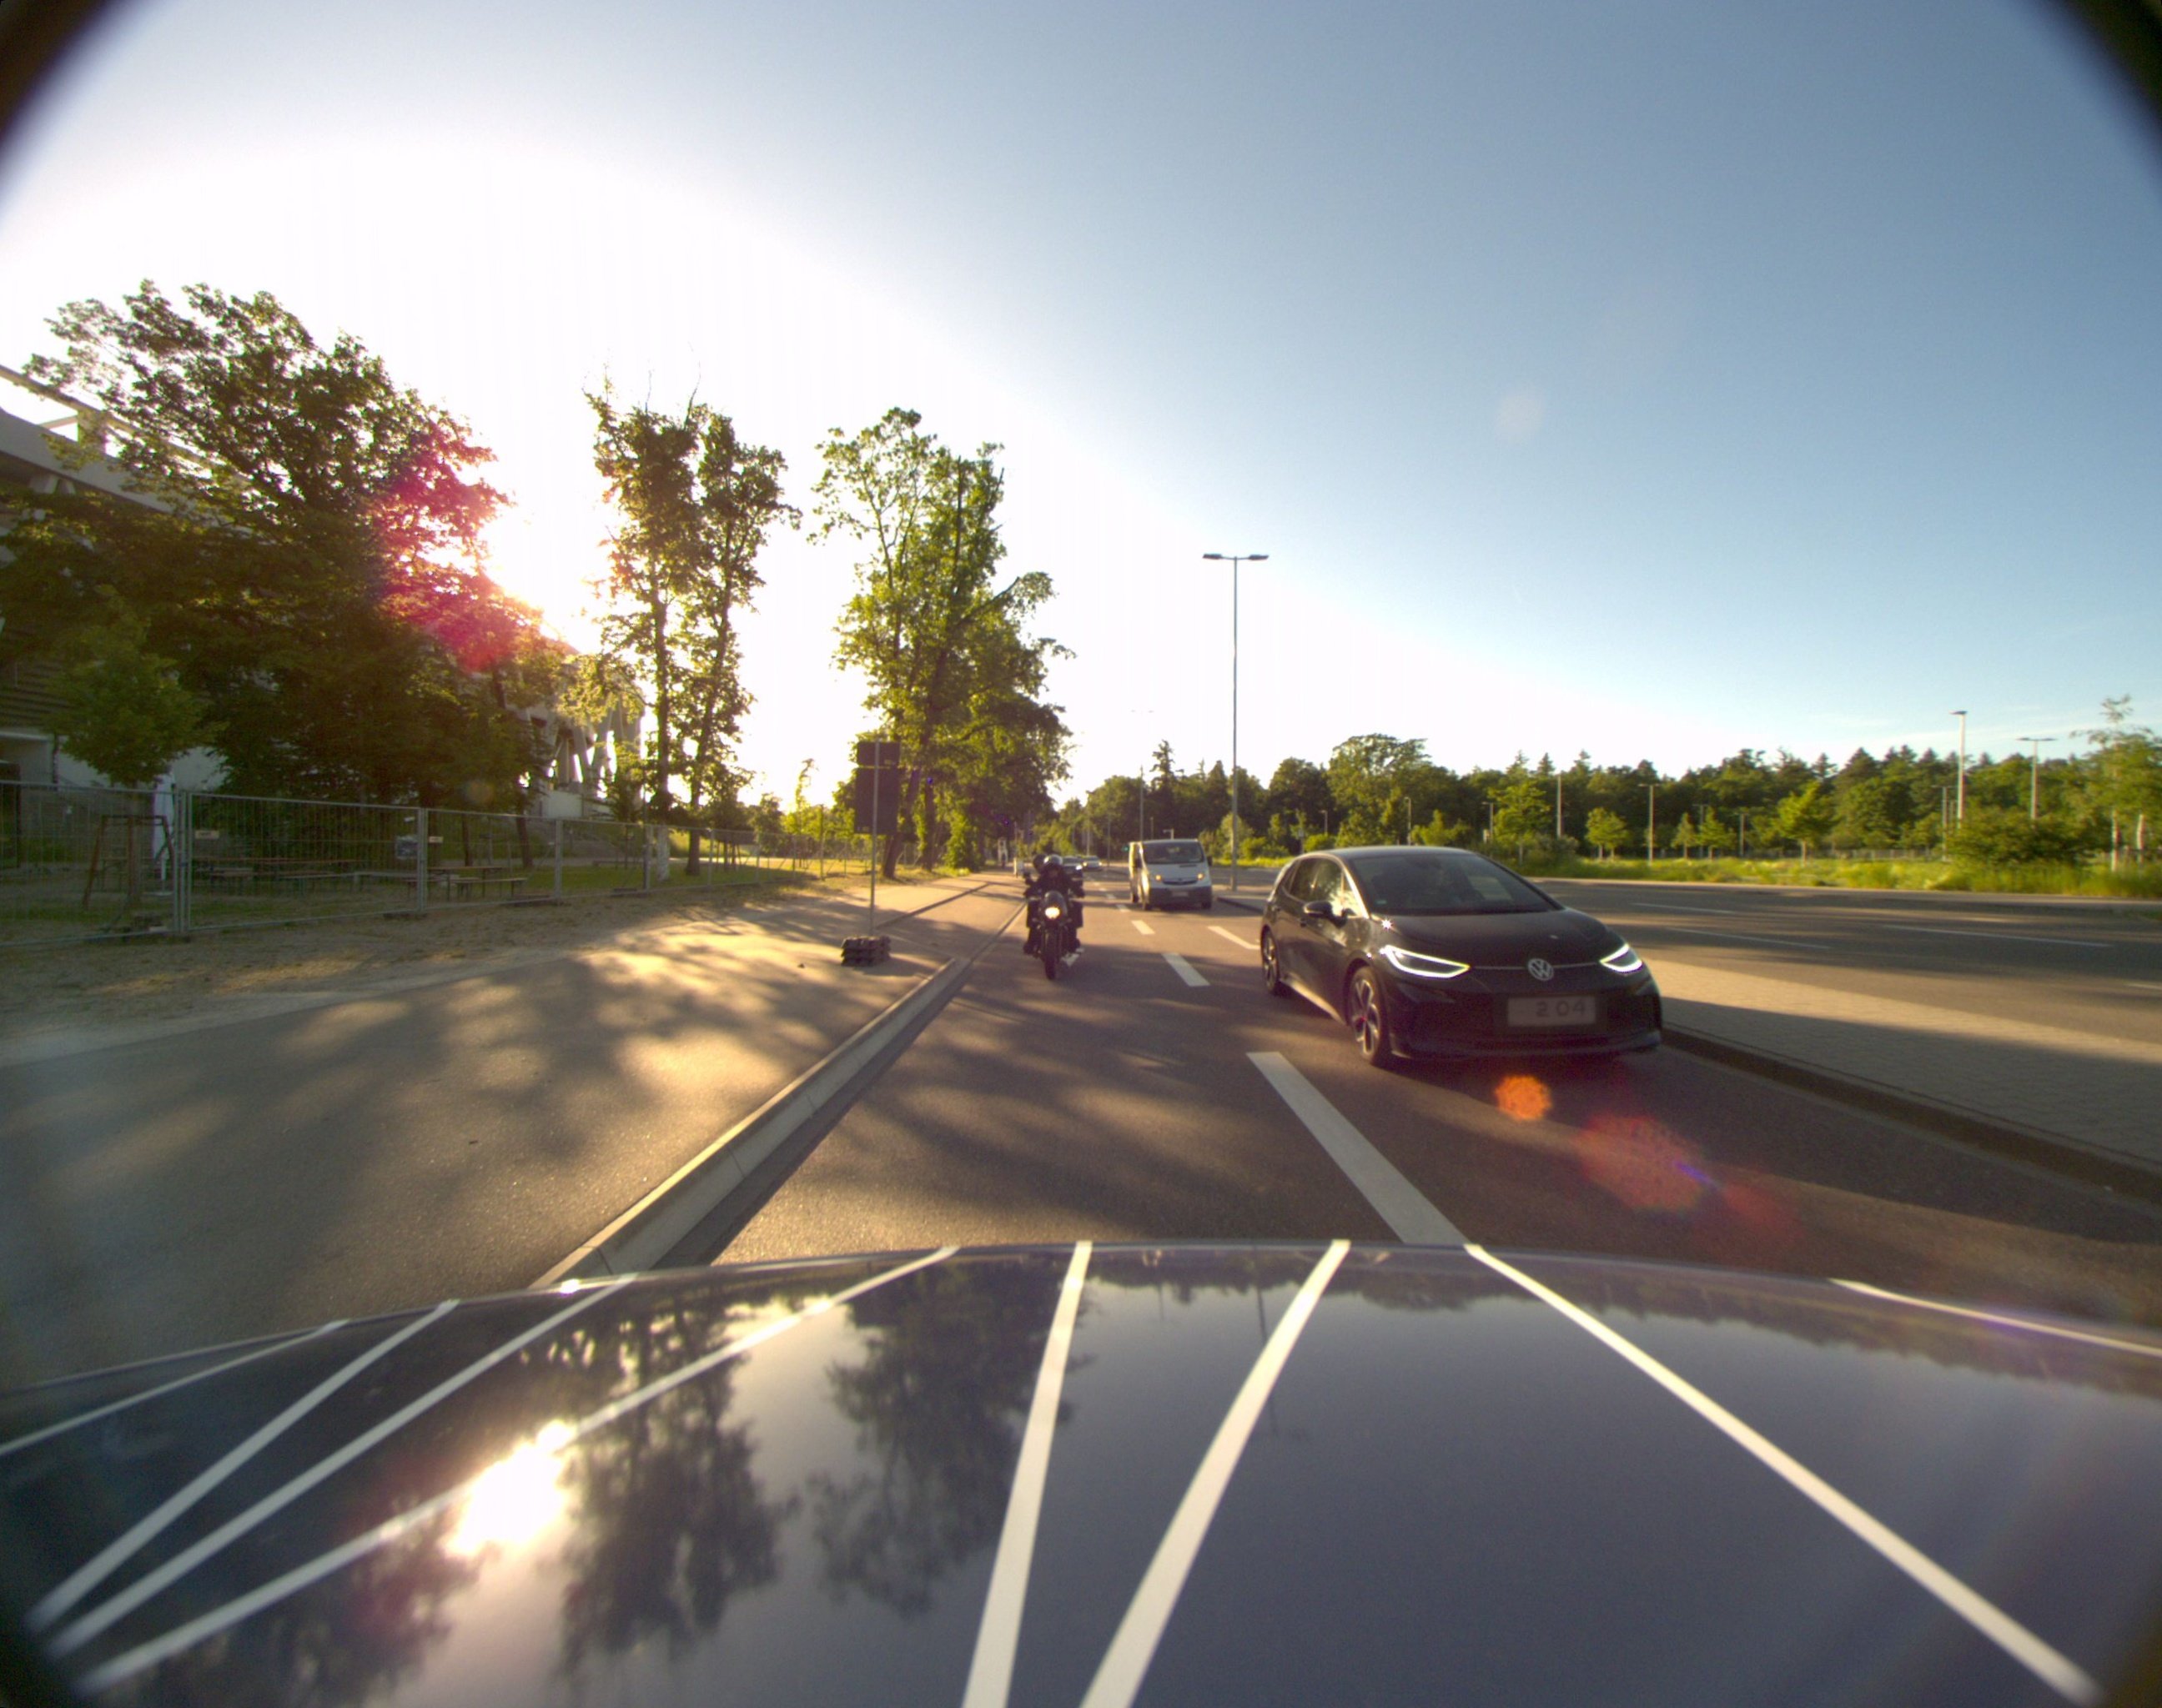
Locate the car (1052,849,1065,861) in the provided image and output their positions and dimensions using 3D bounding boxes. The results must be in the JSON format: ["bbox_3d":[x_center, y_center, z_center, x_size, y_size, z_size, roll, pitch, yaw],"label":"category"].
[{"bbox_3d":[-3.619,0.110,122.729,1.774,1.849,3.999,-2,1,1],"label":"car"}]

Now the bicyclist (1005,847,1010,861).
[{"bbox_3d":[-7.204,-0.012,74.259,0.451,1.412,0.575,0,1,1],"label":"bicyclist"}]

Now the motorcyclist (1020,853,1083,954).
[{"bbox_3d":[-0.408,0.682,10.730,0.822,1.367,0.476,-2,1,1],"label":"motorcyclist"}]

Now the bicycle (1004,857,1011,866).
[{"bbox_3d":[-7.213,0.717,74.210,0.481,0.854,1.910,0,0,1],"label":"bicycle"}]

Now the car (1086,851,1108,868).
[{"bbox_3d":[1.494,0.564,73.147,1.883,1.514,5.048,-2,0,0],"label":"car"}]

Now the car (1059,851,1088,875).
[{"bbox_3d":[-0.532,0.629,54.519,1.883,1.629,5.048,-2,0,0],"label":"car"}]

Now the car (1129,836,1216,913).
[{"bbox_3d":[2.556,0.558,22.521,1.883,1.951,5.048,-2,0,0],"label":"car"}]

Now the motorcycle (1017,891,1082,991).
[{"bbox_3d":[-0.383,1.129,10.632,0.717,1.058,2.721,-2,0,1],"label":"motorcycle"}]

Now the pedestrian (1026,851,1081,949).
[{"bbox_3d":[-0.397,0.664,11.230,0.739,1.387,0.500,-2,1,1],"label":"pedestrian"}]

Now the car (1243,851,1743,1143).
[{"bbox_3d":[2.726,0.789,6.227,1.883,1.528,3.999,-2,1,0],"label":"car"}]
